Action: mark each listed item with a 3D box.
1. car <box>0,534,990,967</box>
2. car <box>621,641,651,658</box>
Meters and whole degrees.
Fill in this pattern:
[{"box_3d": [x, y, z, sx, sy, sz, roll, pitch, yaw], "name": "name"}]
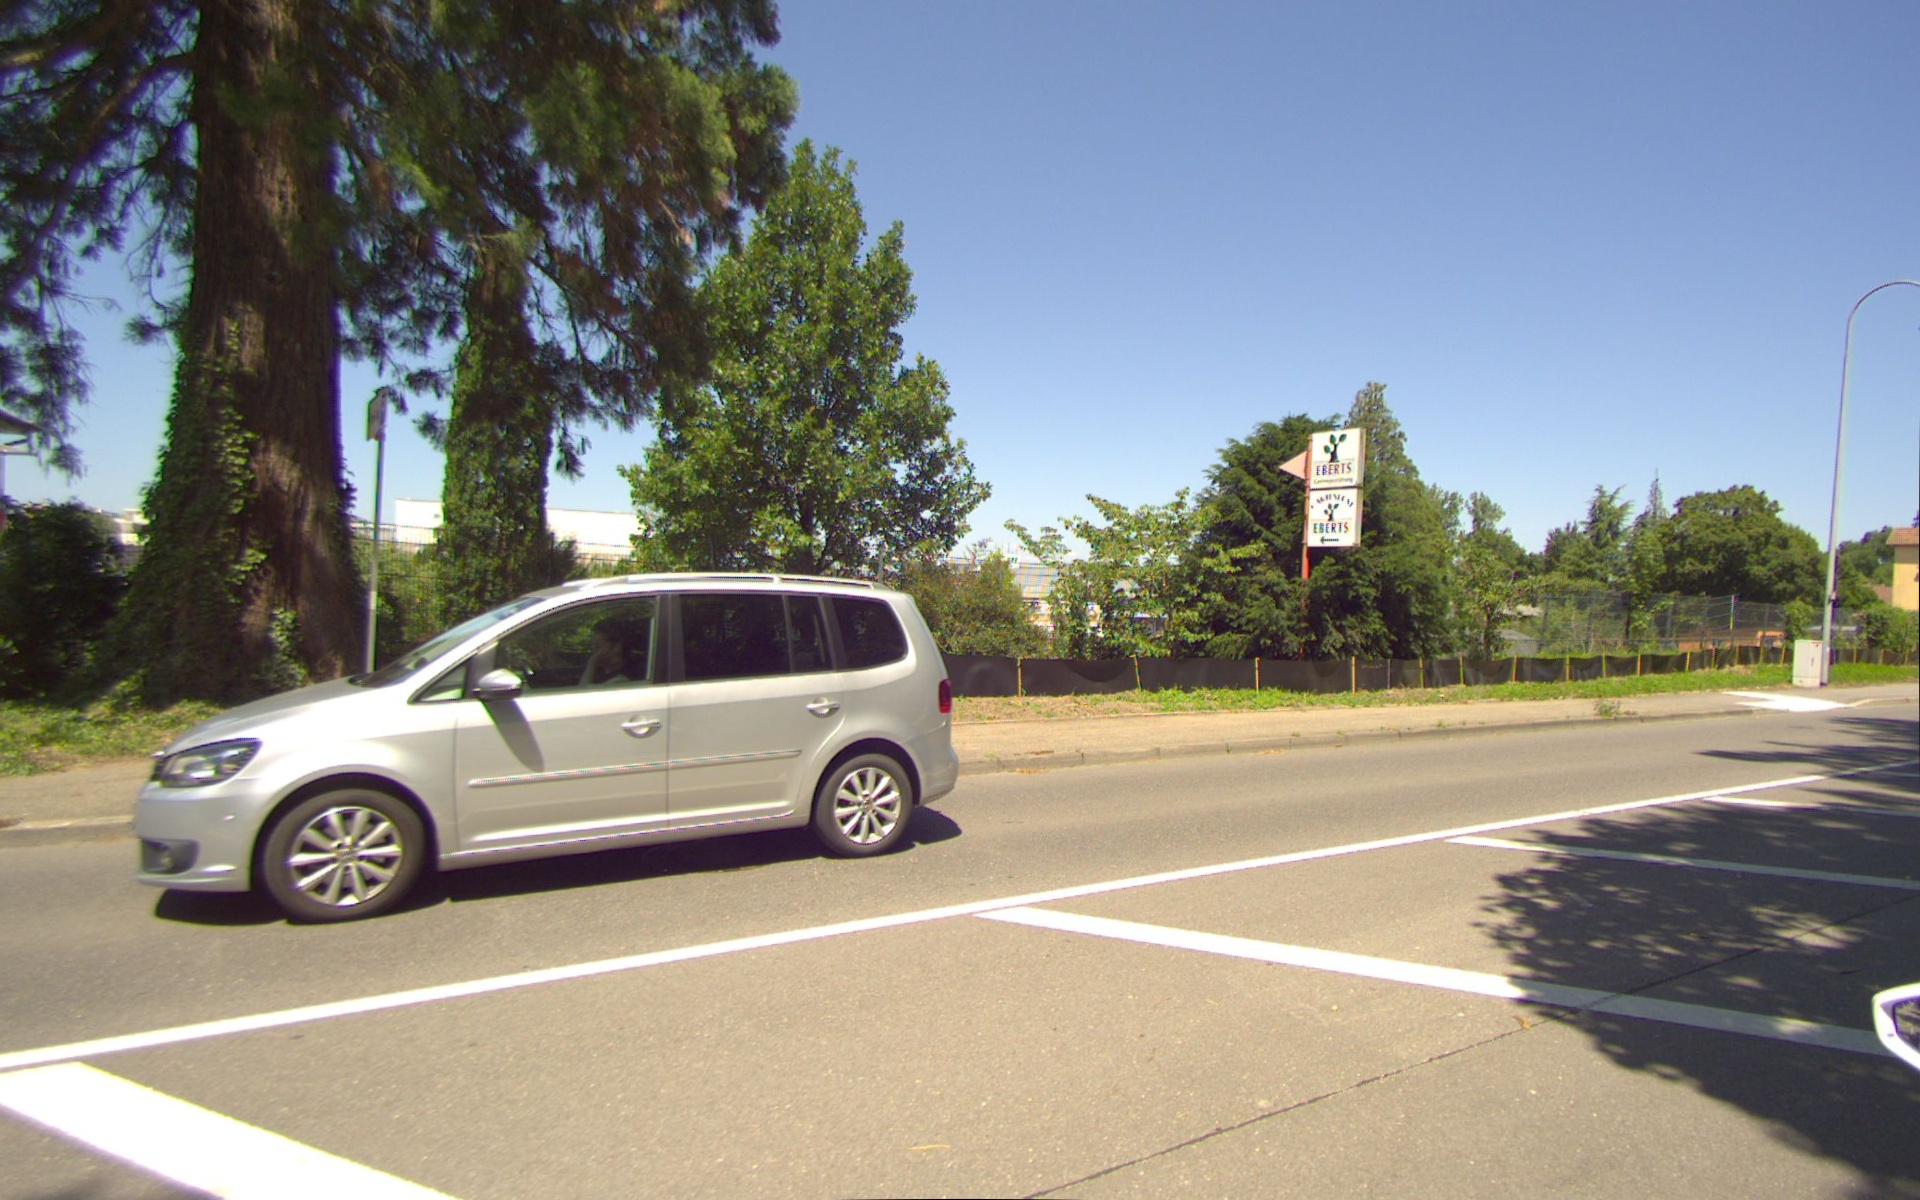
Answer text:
[{"box_3d": [-2.237, 0.652, 5.859, 4.638, 1.666, 1.773, 2, -1, -33], "name": "car"}, {"box_3d": [-33.117, 5.040, 102.682, 1.979, 1.528, 3.963, 2, 0, -33], "name": "car"}]
